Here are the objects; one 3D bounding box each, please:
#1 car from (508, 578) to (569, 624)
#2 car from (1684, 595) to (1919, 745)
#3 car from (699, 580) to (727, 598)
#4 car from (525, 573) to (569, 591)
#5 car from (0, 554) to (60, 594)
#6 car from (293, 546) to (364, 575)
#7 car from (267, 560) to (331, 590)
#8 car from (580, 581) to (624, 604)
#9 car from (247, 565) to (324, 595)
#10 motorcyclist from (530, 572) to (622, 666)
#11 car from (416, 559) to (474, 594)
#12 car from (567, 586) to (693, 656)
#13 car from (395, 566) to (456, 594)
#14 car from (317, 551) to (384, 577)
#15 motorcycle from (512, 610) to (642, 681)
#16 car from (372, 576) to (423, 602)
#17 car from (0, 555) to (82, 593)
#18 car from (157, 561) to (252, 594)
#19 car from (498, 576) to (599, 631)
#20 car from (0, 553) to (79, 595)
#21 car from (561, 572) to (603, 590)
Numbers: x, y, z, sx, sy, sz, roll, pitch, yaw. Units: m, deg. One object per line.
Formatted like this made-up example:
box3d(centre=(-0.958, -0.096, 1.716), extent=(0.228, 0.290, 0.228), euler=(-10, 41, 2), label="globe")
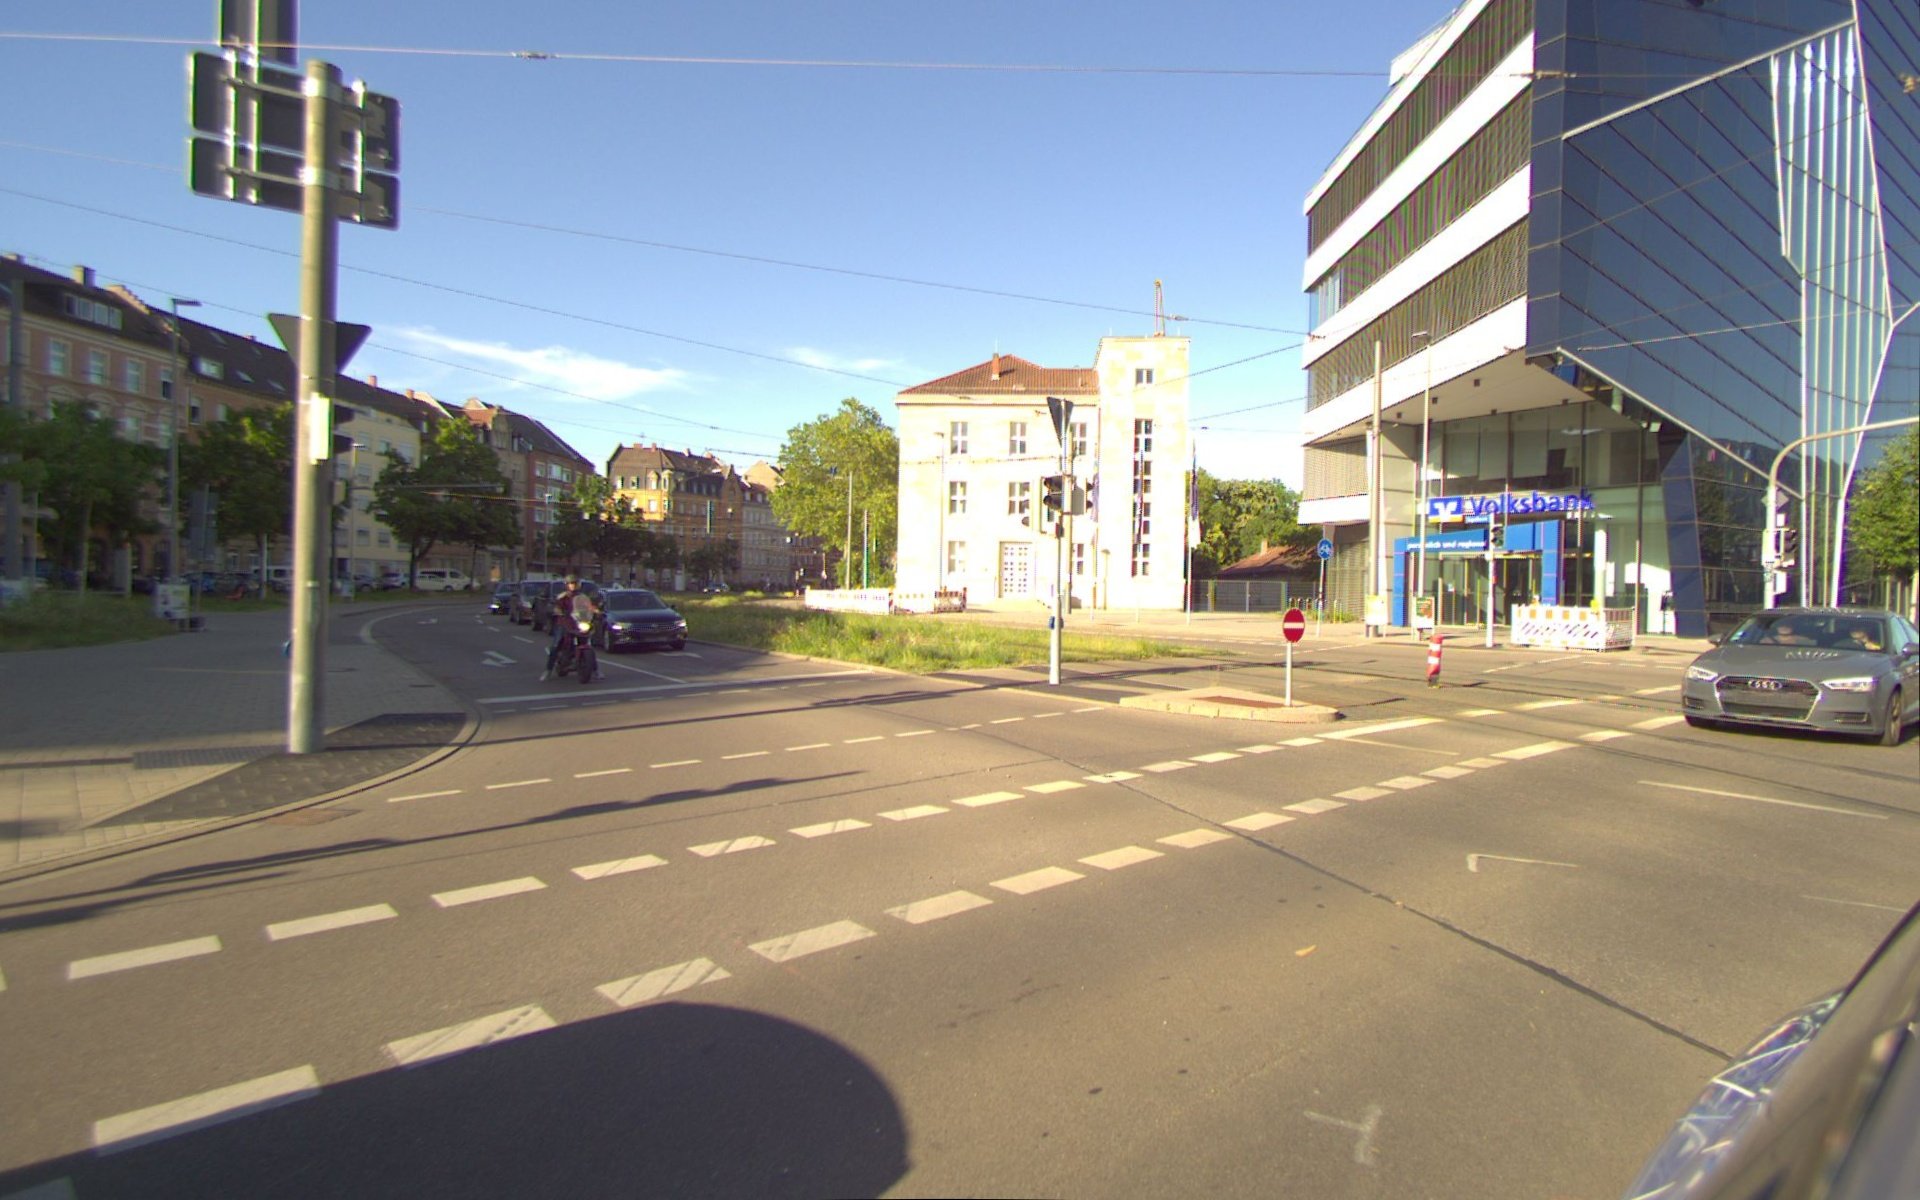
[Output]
box3d(centre=(-15.803, 0.012, 37.848), extent=(1.959, 1.638, 4.107), euler=(0, 1, -25), label="car")
box3d(centre=(9.959, 0.653, 11.483), extent=(4.186, 1.409, 1.750), euler=(0, 0, -38), label="car")
box3d(centre=(-26.055, -1.224, 106.900), extent=(1.963, 1.726, 4.001), euler=(0, 3, 1), label="car")
box3d(centre=(-40.904, -1.776, 100.192), extent=(3.919, 1.793, 2.003), euler=(0, 2, -28), label="car")
box3d(centre=(-43.548, -1.178, 45.665), extent=(3.916, 1.793, 2.004), euler=(0, 2, -23), label="car")
box3d(centre=(-41.811, -2.603, 67.060), extent=(3.922, 1.793, 2.002), euler=(-1, 2, -32), label="car")
box3d(centre=(-50.850, -1.973, 77.962), extent=(1.966, 2.216, 4.183), euler=(1, 2, 7), label="car")
box3d(centre=(-27.515, -0.572, 77.873), extent=(1.962, 1.727, 3.999), euler=(0, 0, 0), label="car")
box3d(centre=(-41.958, -1.236, 63.054), extent=(3.922, 1.793, 2.002), euler=(-1, 2, -32), label="car")
box3d(centre=(-6.376, 0.290, 16.803), extent=(1.152, 1.500, 0.925), euler=(0, 1, -44), label="motorcyclist")
box3d(centre=(-41.820, -1.878, 82.255), extent=(3.917, 2.437, 2.004), euler=(6, -1, -24), label="car")
box3d(centre=(-8.033, 0.422, 24.417), extent=(1.737, 1.417, 4.256), euler=(-3, 3, -34), label="car")
box3d(centre=(-41.334, -1.536, 78.383), extent=(3.916, 1.794, 2.004), euler=(5, 0, -24), label="car")
box3d(centre=(-42.512, -2.496, 70.610), extent=(3.922, 1.793, 2.002), euler=(-1, 2, -32), label="car")
box3d(centre=(-6.409, 0.714, 16.845), extent=(1.152, 1.013, 2.455), euler=(0, 1, -44), label="motorcycle")
box3d(centre=(-49.813, -1.032, 89.698), extent=(1.967, 2.216, 3.990), euler=(1, 2, 9), label="car")
box3d(centre=(-46.158, -1.299, 50.086), extent=(3.926, 1.793, 1.999), euler=(-1, 2, -37), label="car")
box3d(centre=(-42.312, -1.274, 56.784), extent=(3.916, 1.798, 2.004), euler=(0, 2, -23), label="car")
box3d(centre=(-13.341, 0.080, 32.677), extent=(1.963, 1.638, 4.540), euler=(-1, 1, -36), label="car")
box3d(centre=(-51.669, -1.446, 55.894), extent=(1.965, 2.216, 4.406), euler=(1, 2, 6), label="car")
box3d(centre=(-39.928, -2.020, 106.870), extent=(3.919, 1.793, 2.003), euler=(0, 2, -28), label="car")
